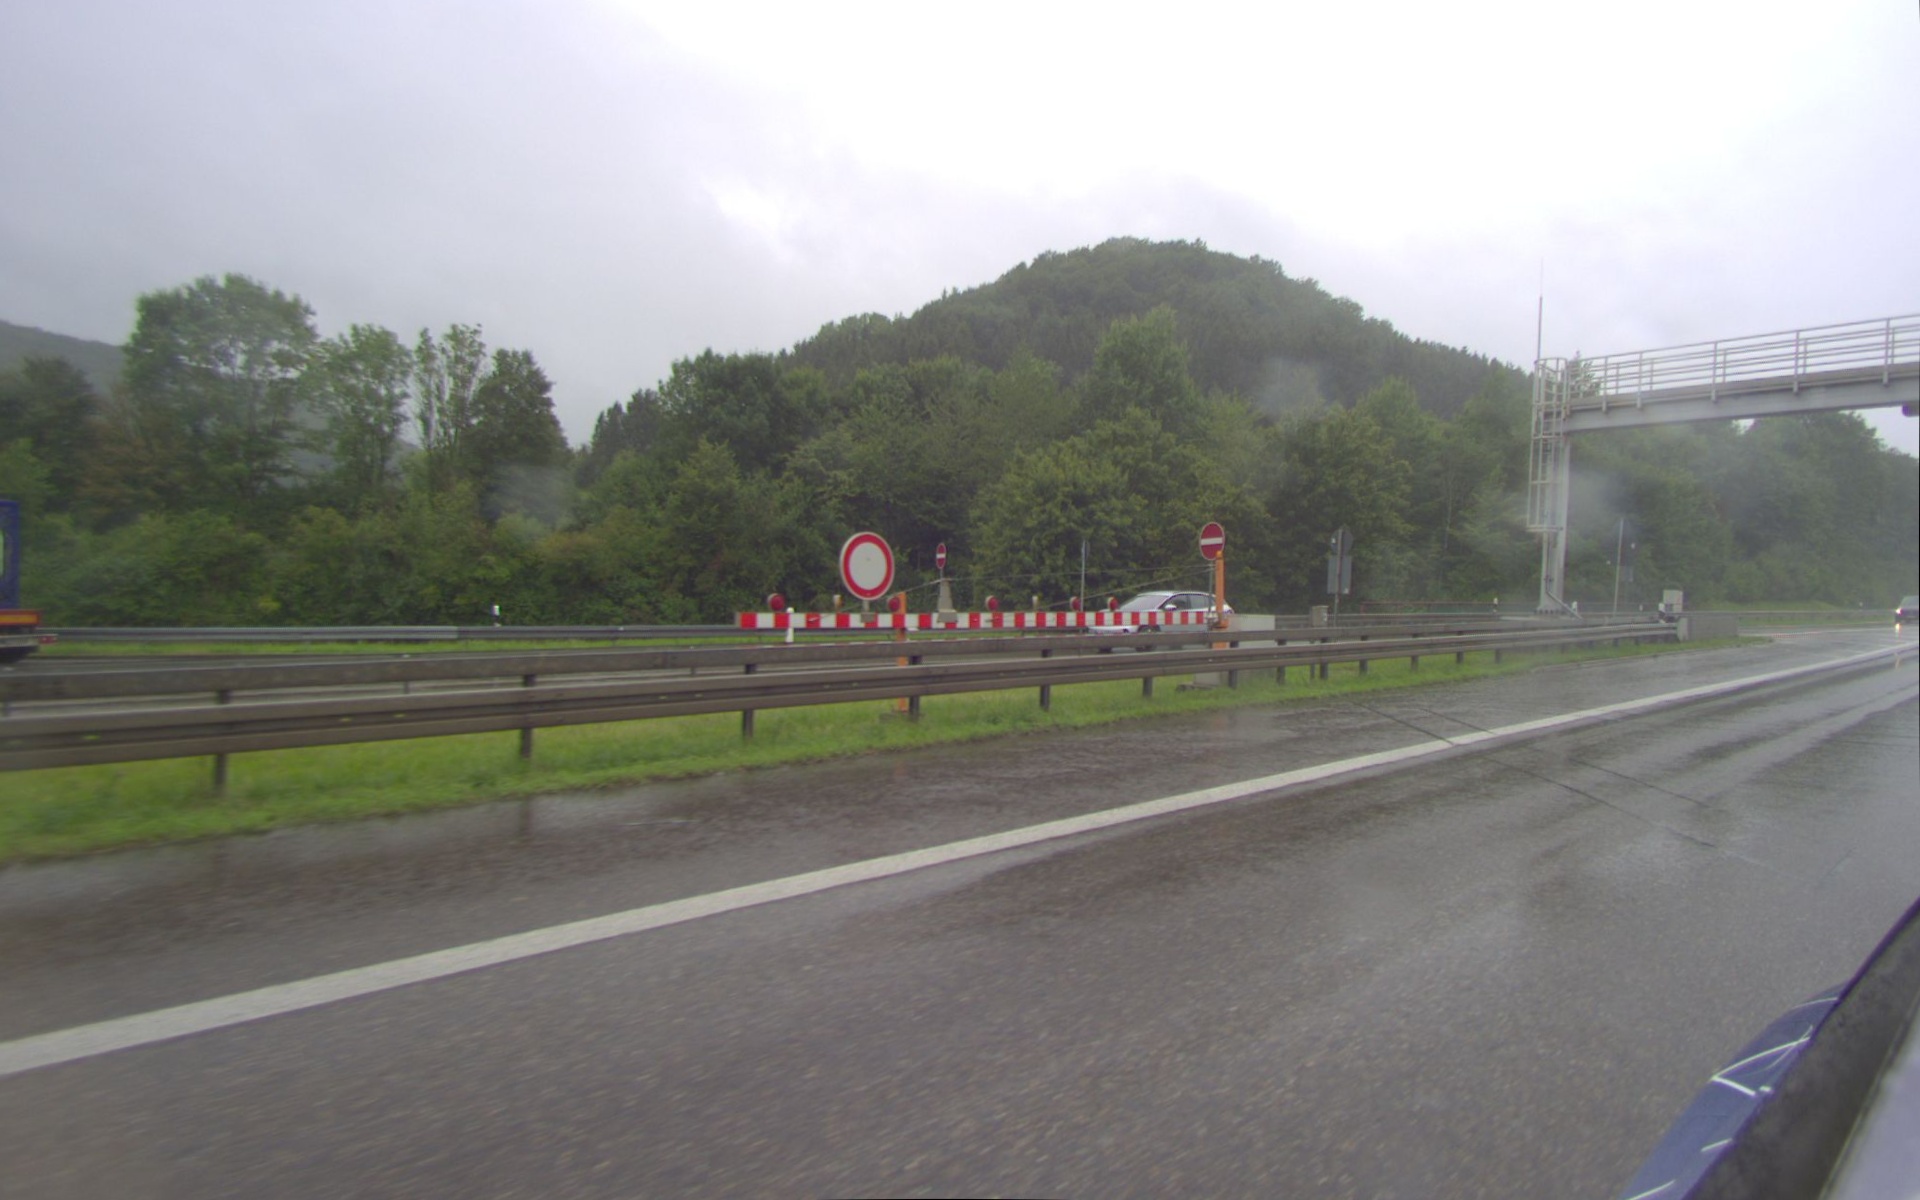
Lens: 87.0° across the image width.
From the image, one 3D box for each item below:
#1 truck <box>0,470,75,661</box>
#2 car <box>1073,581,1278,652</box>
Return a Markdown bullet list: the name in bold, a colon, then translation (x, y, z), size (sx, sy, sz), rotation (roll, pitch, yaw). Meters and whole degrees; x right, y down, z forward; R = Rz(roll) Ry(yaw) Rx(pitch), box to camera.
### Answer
- **truck**: translation (-27.516, -0.737, 22.926), size (11.630, 4.310, 2.884), rotation (0, 0, -7)
- **car**: translation (5.929, 0.390, 27.596), size (5.549, 1.772, 2.002), rotation (0, 0, -30)
